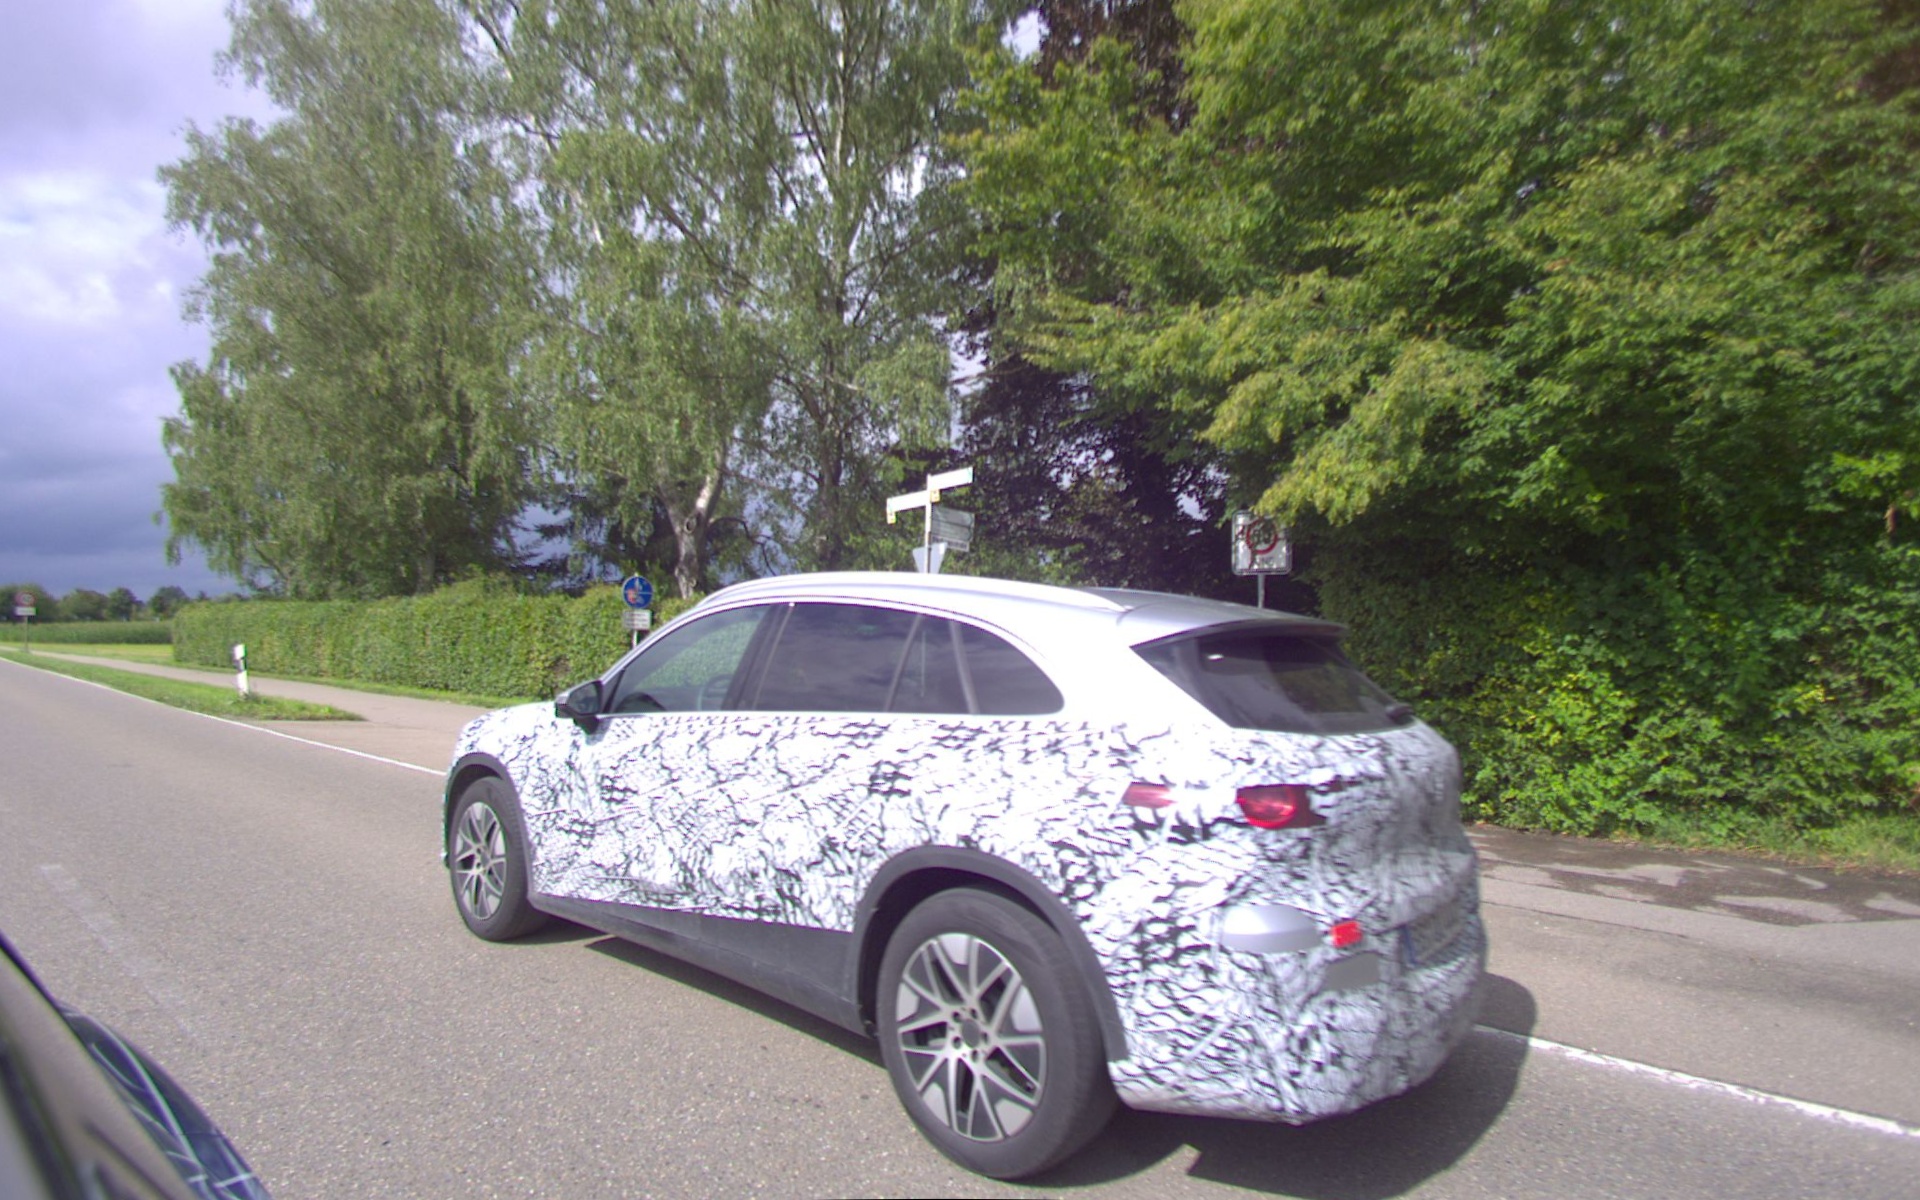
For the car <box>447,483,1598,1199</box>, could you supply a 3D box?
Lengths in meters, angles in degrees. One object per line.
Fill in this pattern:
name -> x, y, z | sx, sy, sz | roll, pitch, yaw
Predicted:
car -> -0.174, 0.685, 3.964 | 4.290, 1.663, 1.792 | -2, -3, 41
